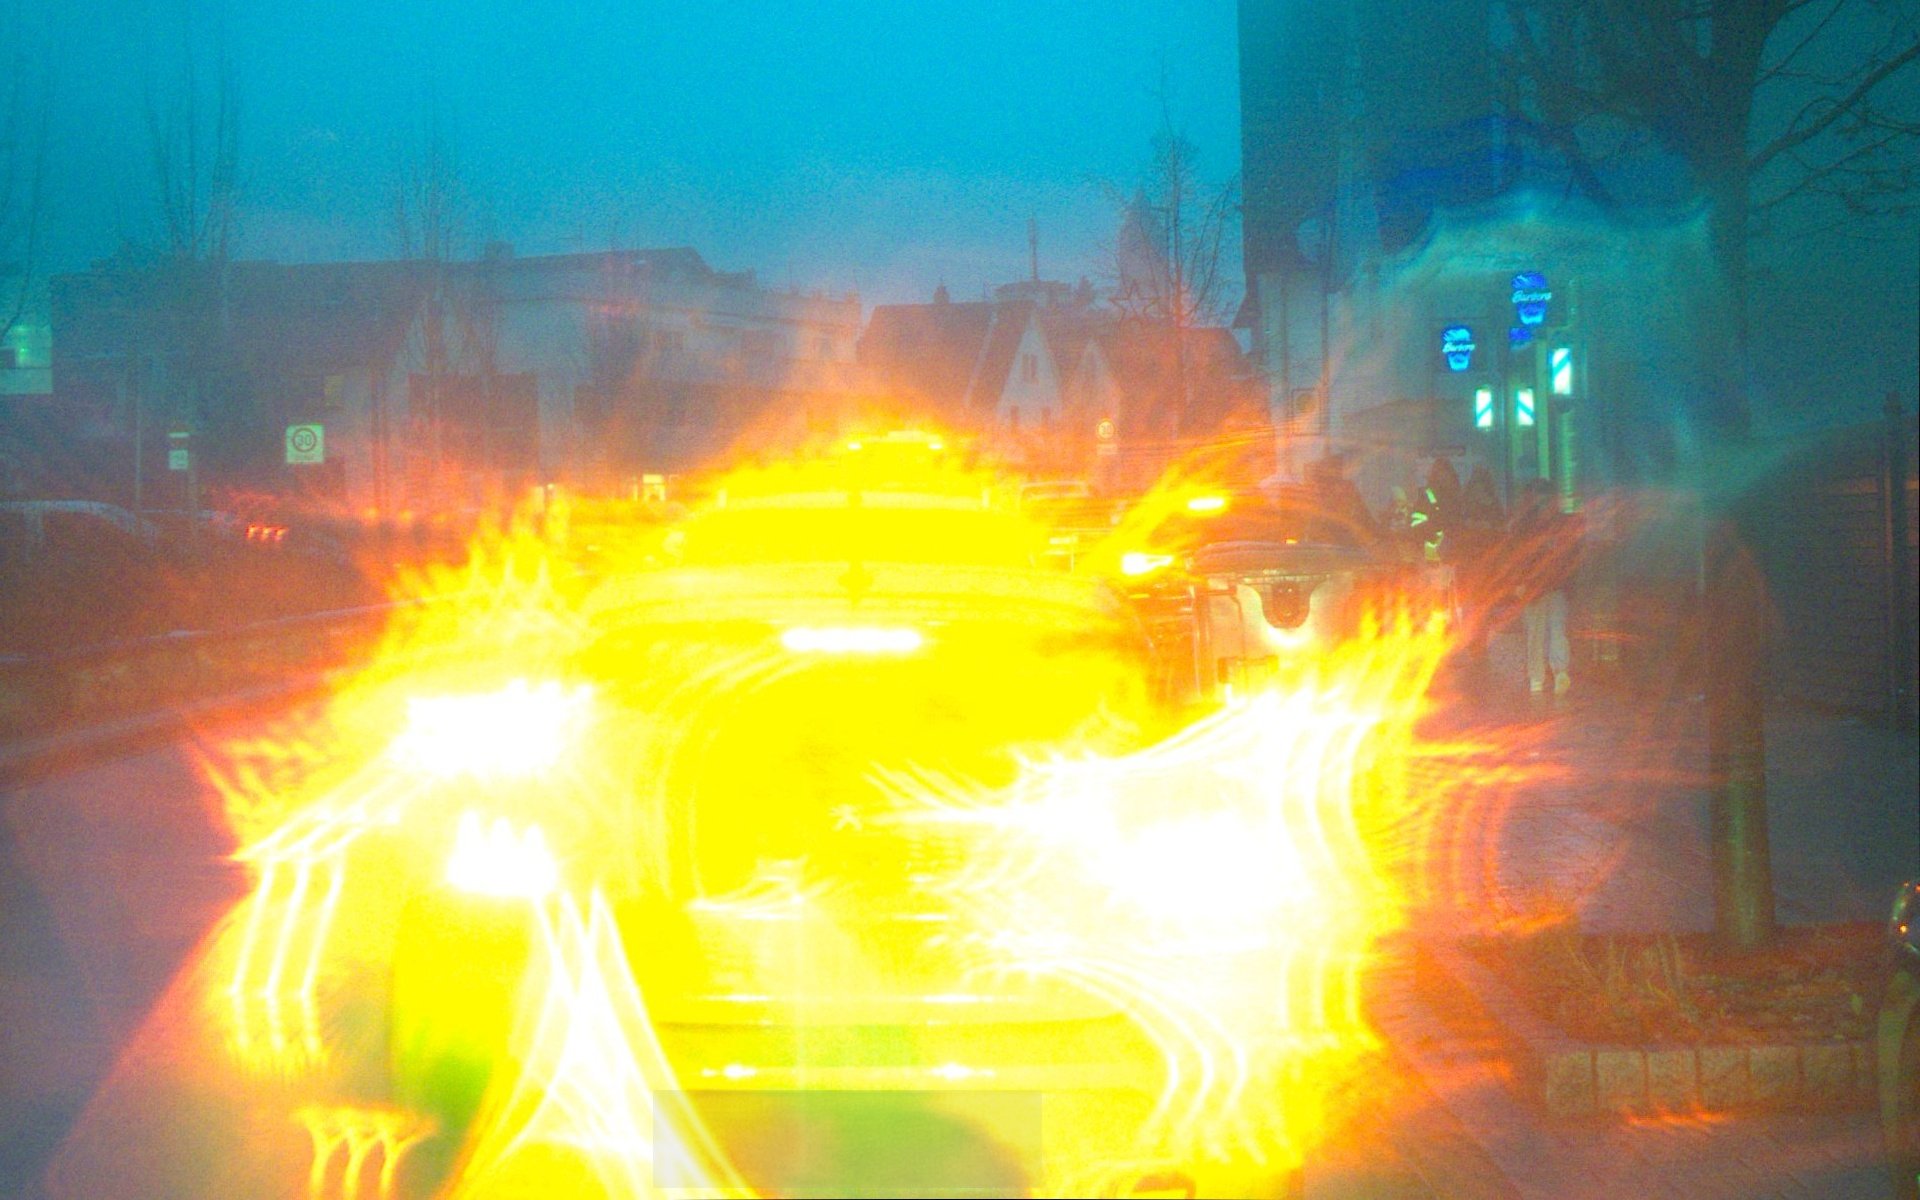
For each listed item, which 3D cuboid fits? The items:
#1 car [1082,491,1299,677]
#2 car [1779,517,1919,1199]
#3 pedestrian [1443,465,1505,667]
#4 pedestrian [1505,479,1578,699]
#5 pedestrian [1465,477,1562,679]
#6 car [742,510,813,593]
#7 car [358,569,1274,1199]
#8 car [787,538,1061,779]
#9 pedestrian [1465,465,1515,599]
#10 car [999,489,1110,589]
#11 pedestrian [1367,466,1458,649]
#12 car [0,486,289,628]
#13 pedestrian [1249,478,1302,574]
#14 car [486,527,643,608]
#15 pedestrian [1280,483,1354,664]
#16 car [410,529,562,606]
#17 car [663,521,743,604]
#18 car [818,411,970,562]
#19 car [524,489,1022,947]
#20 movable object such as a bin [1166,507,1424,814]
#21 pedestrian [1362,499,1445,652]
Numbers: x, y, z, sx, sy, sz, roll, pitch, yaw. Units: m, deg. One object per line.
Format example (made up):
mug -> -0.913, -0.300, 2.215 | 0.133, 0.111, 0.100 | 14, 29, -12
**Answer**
car -> 2.207, -0.191, 33.917 | 1.735, 1.686, 4.386 | -1, 1, -1
car -> 2.456, 0.596, 4.648 | 1.728, 1.459, 4.199 | -3, 2, 2
pedestrian -> 4.638, -0.317, 31.003 | 0.529, 1.794, 0.864 | 0, 2, 10
pedestrian -> 4.445, -0.078, 26.303 | 0.529, 1.647, 0.953 | 0, -1, 10
pedestrian -> 4.687, -0.178, 29.165 | 0.747, 1.673, 1.052 | 0, -1, 6
car -> -5.100, -1.339, 96.536 | 1.919, 2.208, 3.975 | 1, -1, -2
car -> -0.261, 0.669, 7.414 | 1.563, 1.408, 3.018 | 1, 1, 0
car -> -0.221, 0.302, 21.177 | 1.541, 1.327, 3.311 | 1, 1, -1
pedestrian -> 6.875, -0.880, 44.588 | 0.618, 1.721, 0.501 | 0, -1, 12
car -> 1.772, -1.161, 65.786 | 1.997, 1.858, 4.083 | 0, 1, 0
pedestrian -> 4.344, -0.418, 32.987 | 0.712, 1.709, 1.034 | -2, 2, 13
car -> -10.564, -0.518, 41.405 | 4.625, 1.662, 2.000 | 0, 1, -3
pedestrian -> 5.003, -1.178, 54.514 | 0.618, 1.510, 0.734 | -1, 3, -14
car -> -11.014, -0.884, 95.602 | 4.383, 2.159, 1.995 | 0, -1, 44
pedestrian -> 3.416, -0.255, 32.940 | 0.573, 1.694, 0.653 | -3, 1, 1
car -> -12.679, -0.849, 91.884 | 4.166, 1.969, 1.818 | 0, -1, 44
car -> -6.599, -0.954, 88.634 | 1.919, 2.020, 3.975 | 1, -1, -2
car -> -1.447, -2.439, 76.076 | 3.190, 3.021, 6.305 | 1, -1, -1
car -> -0.689, 0.377, 14.097 | 1.766, 1.623, 3.586 | 1, 1, -1
movable object such as a bin -> 1.684, 0.279, 17.541 | 1.129, 1.415, 1.417 | -4, 2, 2
pedestrian -> 4.832, -0.279, 37.493 | 0.618, 1.621, 0.907 | -1, 3, -14
